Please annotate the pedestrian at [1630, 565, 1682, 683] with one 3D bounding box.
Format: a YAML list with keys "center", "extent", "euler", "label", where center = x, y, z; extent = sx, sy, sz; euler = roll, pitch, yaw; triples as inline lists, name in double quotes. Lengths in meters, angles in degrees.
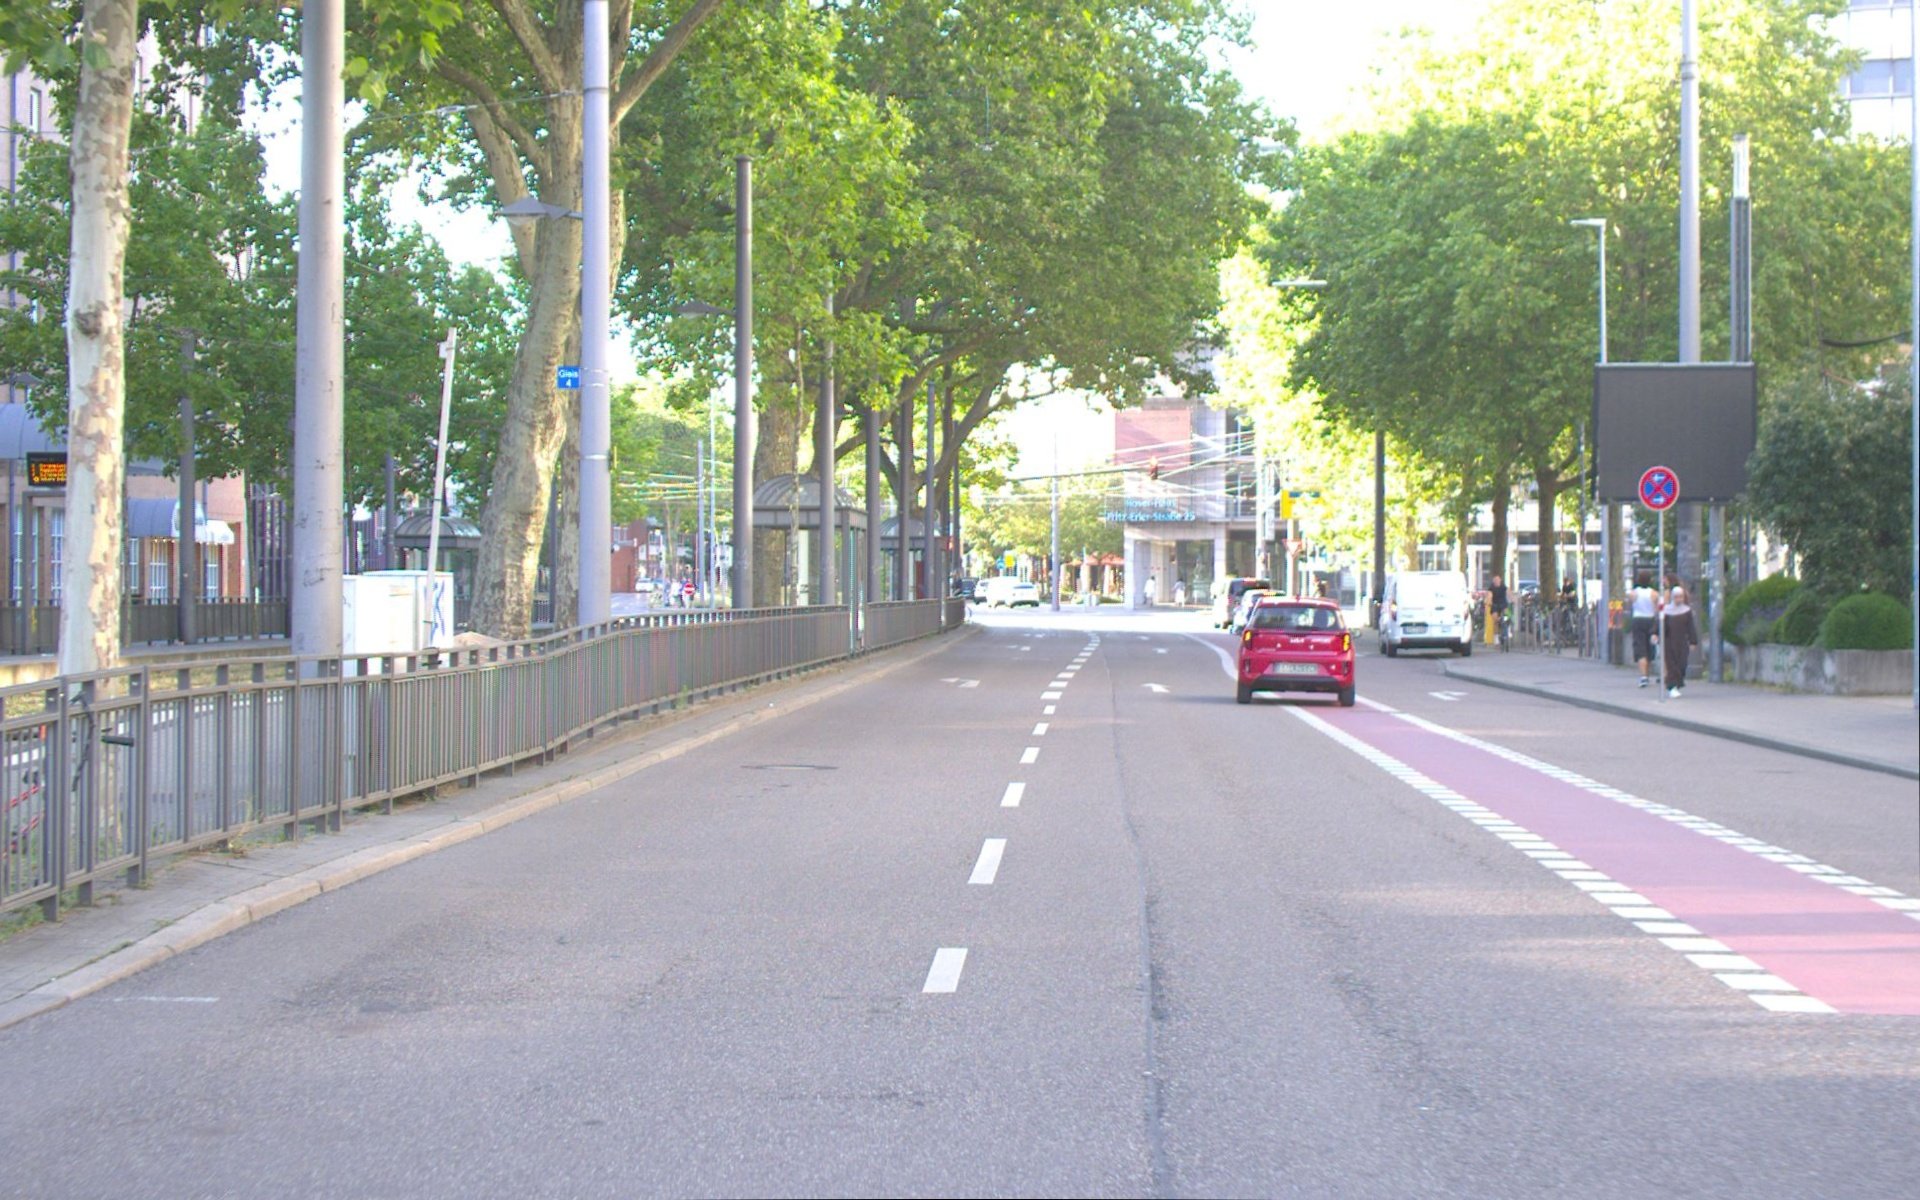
- center: [10.833, 0.370, 53.515]
  extent: [0.540, 1.790, 0.907]
  euler: [-3, 0, 0]
  label: "pedestrian"

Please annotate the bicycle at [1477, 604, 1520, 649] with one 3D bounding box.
- center: [12.918, 0.623, 82.512]
  extent: [0.683, 1.063, 2.469]
  euler: [-1, 0, 1]
  label: "bicycle"

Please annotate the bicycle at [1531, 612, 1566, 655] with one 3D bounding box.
- center: [14.872, 0.850, 86.923]
  extent: [0.586, 1.063, 1.899]
  euler: [-1, 0, 1]
  label: "bicycle"

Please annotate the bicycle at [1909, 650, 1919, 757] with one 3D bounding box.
- center: [8.926, 0.947, 30.428]
  extent: [0.520, 0.971, 2.201]
  euler: [-3, 1, 4]
  label: "bicycle"

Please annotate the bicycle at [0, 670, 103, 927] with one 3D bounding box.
- center: [-3.941, 0.802, 13.999]
  extent: [0.395, 0.945, 1.351]
  euler: [0, 3, 7]
  label: "bicycle"

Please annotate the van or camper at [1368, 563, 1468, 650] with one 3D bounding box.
- center: [10.843, 0.145, 81.650]
  extent: [1.994, 1.982, 4.744]
  euler: [1, 0, 3]
  label: "van or camper"

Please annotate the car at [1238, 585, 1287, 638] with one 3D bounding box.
- center: [10.449, 0.393, 118.837]
  extent: [1.636, 1.794, 3.329]
  euler: [0, 0, 4]
  label: "car"

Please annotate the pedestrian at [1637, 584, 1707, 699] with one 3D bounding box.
- center: [10.103, 0.588, 48.797]
  extent: [0.641, 1.574, 0.723]
  euler: [-3, 0, -11]
  label: "pedestrian"

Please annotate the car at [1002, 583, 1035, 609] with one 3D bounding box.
- center: [3.531, -0.248, 207.140]
  extent: [1.777, 1.529, 3.412]
  euler: [1, 0, -3]
  label: "car"

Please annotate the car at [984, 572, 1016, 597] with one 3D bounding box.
- center: [2.469, -0.966, 213.784]
  extent: [1.777, 1.529, 3.412]
  euler: [1, 0, -3]
  label: "car"

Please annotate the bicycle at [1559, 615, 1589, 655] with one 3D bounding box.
- center: [15.513, 0.874, 86.913]
  extent: [0.467, 0.978, 1.767]
  euler: [-1, 0, 1]
  label: "bicycle"

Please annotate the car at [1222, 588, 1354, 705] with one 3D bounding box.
- center: [4.547, 0.622, 47.943]
  extent: [1.613, 1.529, 3.411]
  euler: [1, 0, 2]
  label: "car"

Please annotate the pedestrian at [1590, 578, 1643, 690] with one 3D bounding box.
- center: [10.216, 0.523, 53.538]
  extent: [0.564, 1.696, 0.907]
  euler: [-3, 0, 0]
  label: "pedestrian"

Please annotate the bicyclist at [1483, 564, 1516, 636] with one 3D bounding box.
- center: [12.938, 0.003, 82.512]
  extent: [0.650, 1.696, 0.952]
  euler: [1, 0, 2]
  label: "bicyclist"

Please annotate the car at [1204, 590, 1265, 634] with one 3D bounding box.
- center: [9.972, 0.409, 125.102]
  extent: [1.777, 1.529, 3.512]
  euler: [1, 0, -3]
  label: "car"

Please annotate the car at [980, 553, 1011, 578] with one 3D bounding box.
- center: [2.276, -2.195, 219.807]
  extent: [1.777, 1.583, 3.412]
  euler: [1, 0, -3]
  label: "car"
